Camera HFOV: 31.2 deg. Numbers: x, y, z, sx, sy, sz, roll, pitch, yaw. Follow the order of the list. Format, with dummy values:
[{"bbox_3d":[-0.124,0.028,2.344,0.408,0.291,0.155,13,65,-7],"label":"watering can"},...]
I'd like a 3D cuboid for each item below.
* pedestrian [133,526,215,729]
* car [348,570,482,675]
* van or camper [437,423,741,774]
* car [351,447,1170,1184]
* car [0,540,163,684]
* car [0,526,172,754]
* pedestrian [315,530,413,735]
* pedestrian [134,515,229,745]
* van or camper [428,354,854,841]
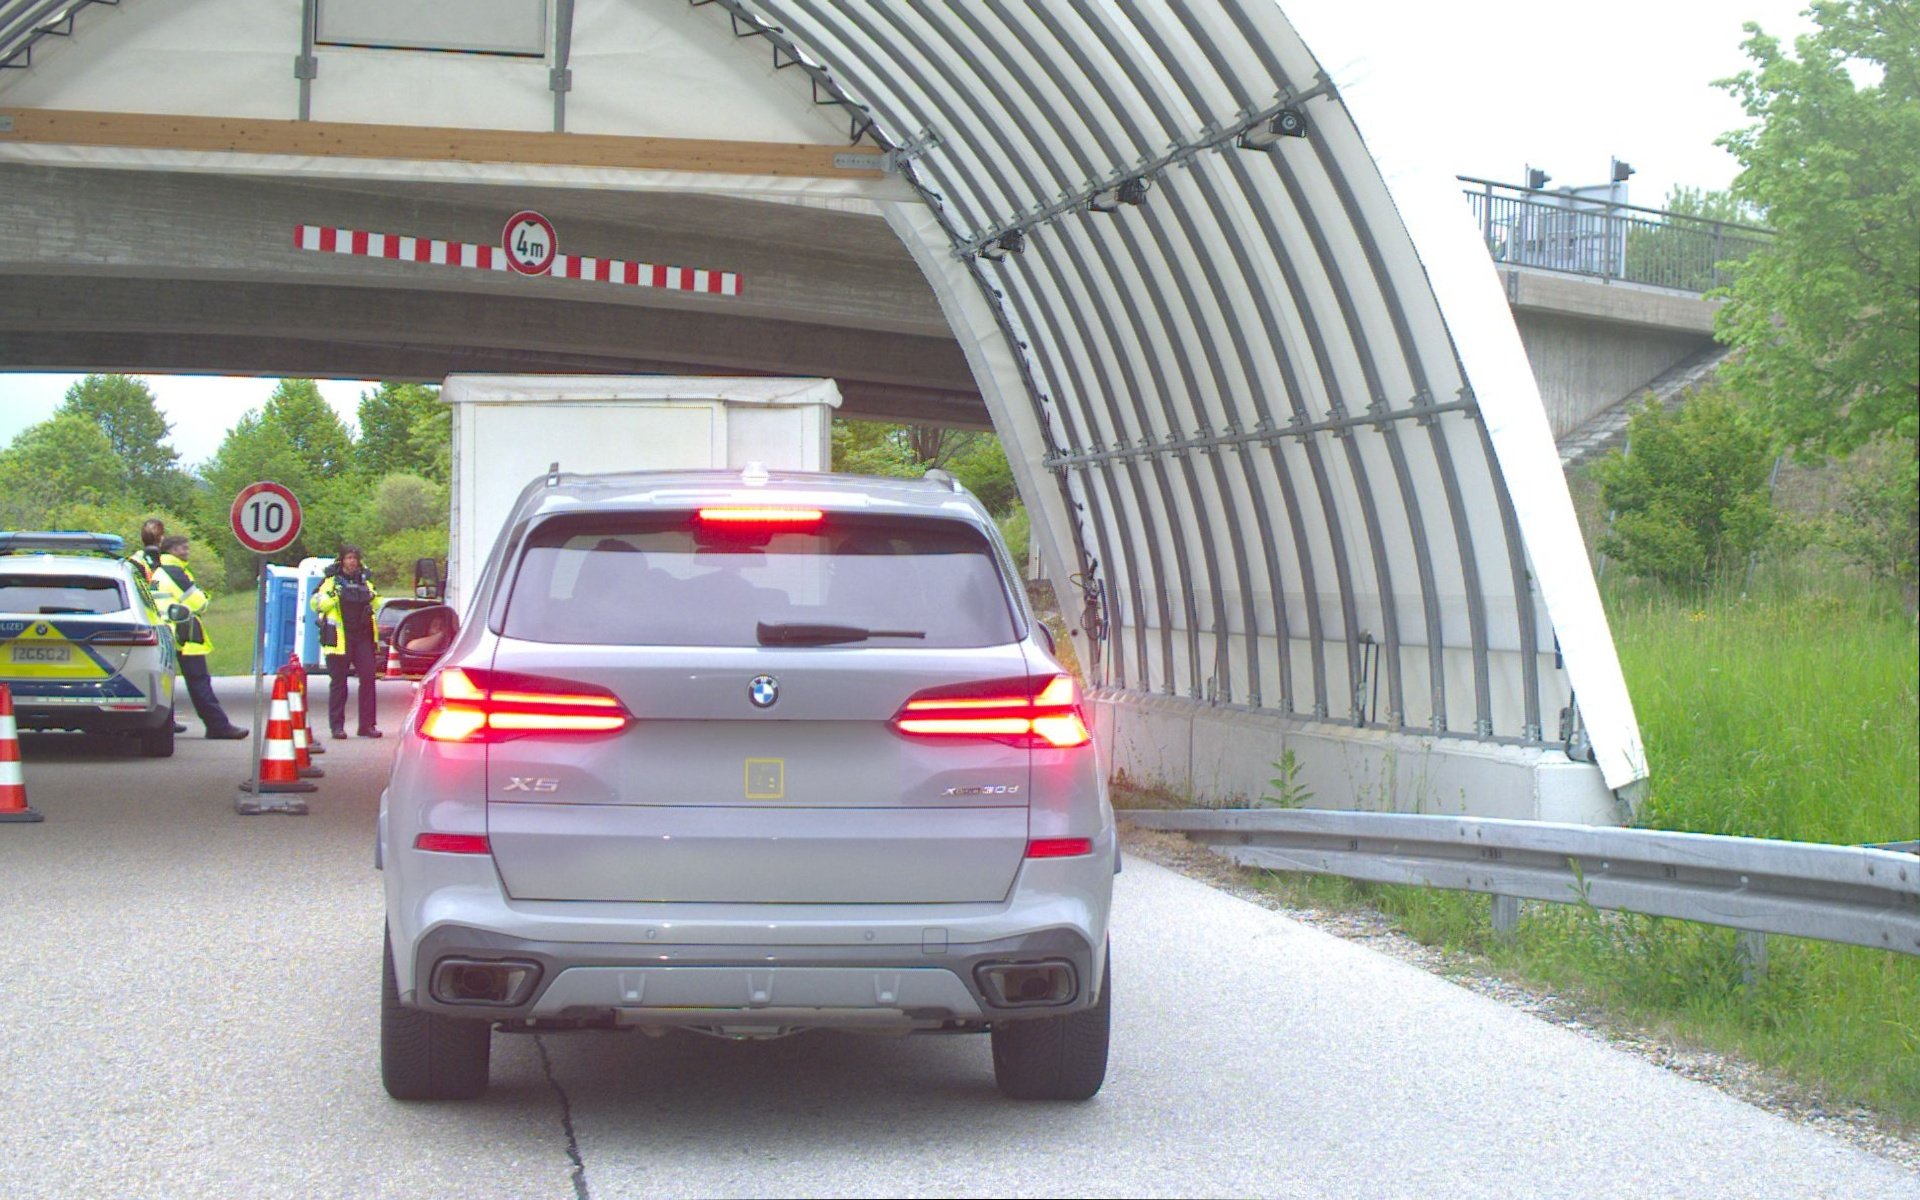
[{"bbox_3d":[-6.856,0.233,29.994,0.609,1.748,0.666,0,0,-6],"label":"pedestrian"},{"bbox_3d":[-9.334,0.362,58.681,1.993,1.716,3.897,0,0,-13],"label":"car"},{"bbox_3d":[-3.078,-0.031,27.477,2.103,2.510,5.552,0,0,-9],"label":"van or camper"},{"bbox_3d":[-0.785,0.496,10.338,1.993,1.759,4.001,0,0,-9],"label":"car"},{"bbox_3d":[-13.985,0.153,48.934,4.807,2.007,1.840,0,0,7],"label":"car"},{"bbox_3d":[-7.157,0.275,26.747,1.877,1.641,4.001,0,0,-15],"label":"car"},{"bbox_3d":[-5.094,0.269,29.354,0.779,1.716,0.757,0,0,-12],"label":"pedestrian"},{"bbox_3d":[-6.554,0.244,28.932,0.749,1.912,0.763,0,0,-15],"label":"pedestrian"},{"bbox_3d":[-2.171,-0.042,21.401,2.229,2.543,6.612,0,0,-9],"label":"van or camper"}]
